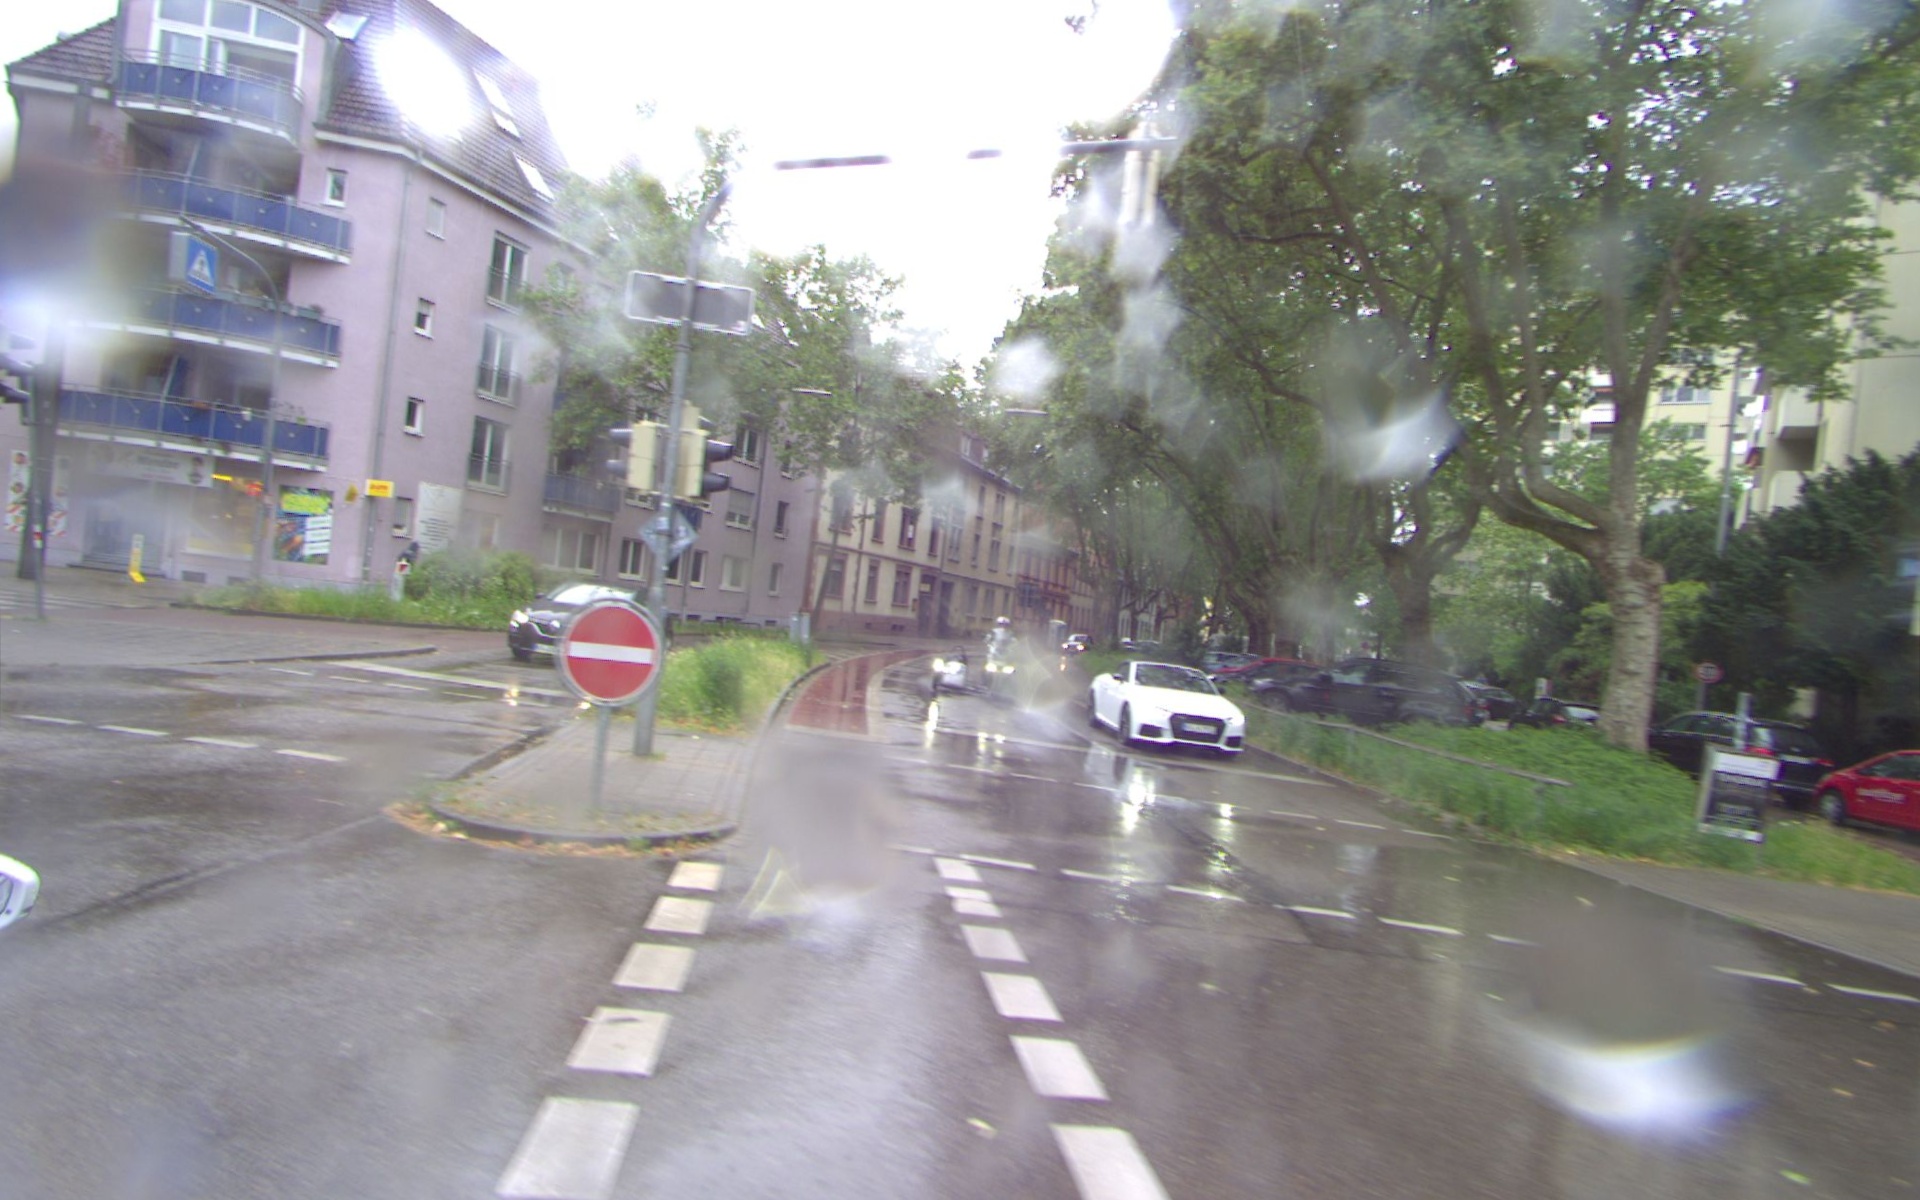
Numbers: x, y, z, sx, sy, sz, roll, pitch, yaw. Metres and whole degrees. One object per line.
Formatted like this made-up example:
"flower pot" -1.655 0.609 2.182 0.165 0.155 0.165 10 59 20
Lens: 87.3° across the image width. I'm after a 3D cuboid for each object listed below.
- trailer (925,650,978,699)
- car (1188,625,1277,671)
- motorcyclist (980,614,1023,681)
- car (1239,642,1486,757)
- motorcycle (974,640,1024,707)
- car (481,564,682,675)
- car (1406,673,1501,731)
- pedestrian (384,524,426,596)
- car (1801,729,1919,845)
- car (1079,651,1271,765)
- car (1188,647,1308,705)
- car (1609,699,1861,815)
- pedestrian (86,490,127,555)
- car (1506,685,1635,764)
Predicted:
"trailer" -0.169 1.579 21.560 1.008 0.852 1.483 7 -1 0
"car" 18.578 3.247 68.911 2.214 2.430 5.552 7 -1 -35
"motorcyclist" 0.894 1.022 21.868 0.744 1.367 0.755 7 0 -1
"car" 8.526 2.044 21.403 4.525 1.684 1.872 7 -1 29
"motorcycle" 0.823 1.551 21.747 0.865 1.229 2.075 7 -1 0
"car" -6.428 0.328 17.650 1.959 1.479 4.176 7 -1 -3
"car" 17.987 3.664 36.855 1.895 1.653 4.003 7 -1 9
"pedestrian" -14.804 -1.068 26.834 0.631 1.827 0.621 7 1 -6
"car" 15.699 3.106 15.924 1.807 1.543 3.463 7 -1 2
"car" 3.377 1.682 16.694 1.869 1.290 4.170 7 -1 -5
"car" 9.986 2.597 34.910 3.770 1.440 1.886 7 1 17
"car" 15.872 3.134 20.983 1.903 1.627 4.458 7 -1 5
"pedestrian" -22.435 -2.035 26.451 0.466 1.621 0.592 7 0 -15
"car" 16.336 3.282 27.110 1.805 1.615 3.489 7 -1 13
